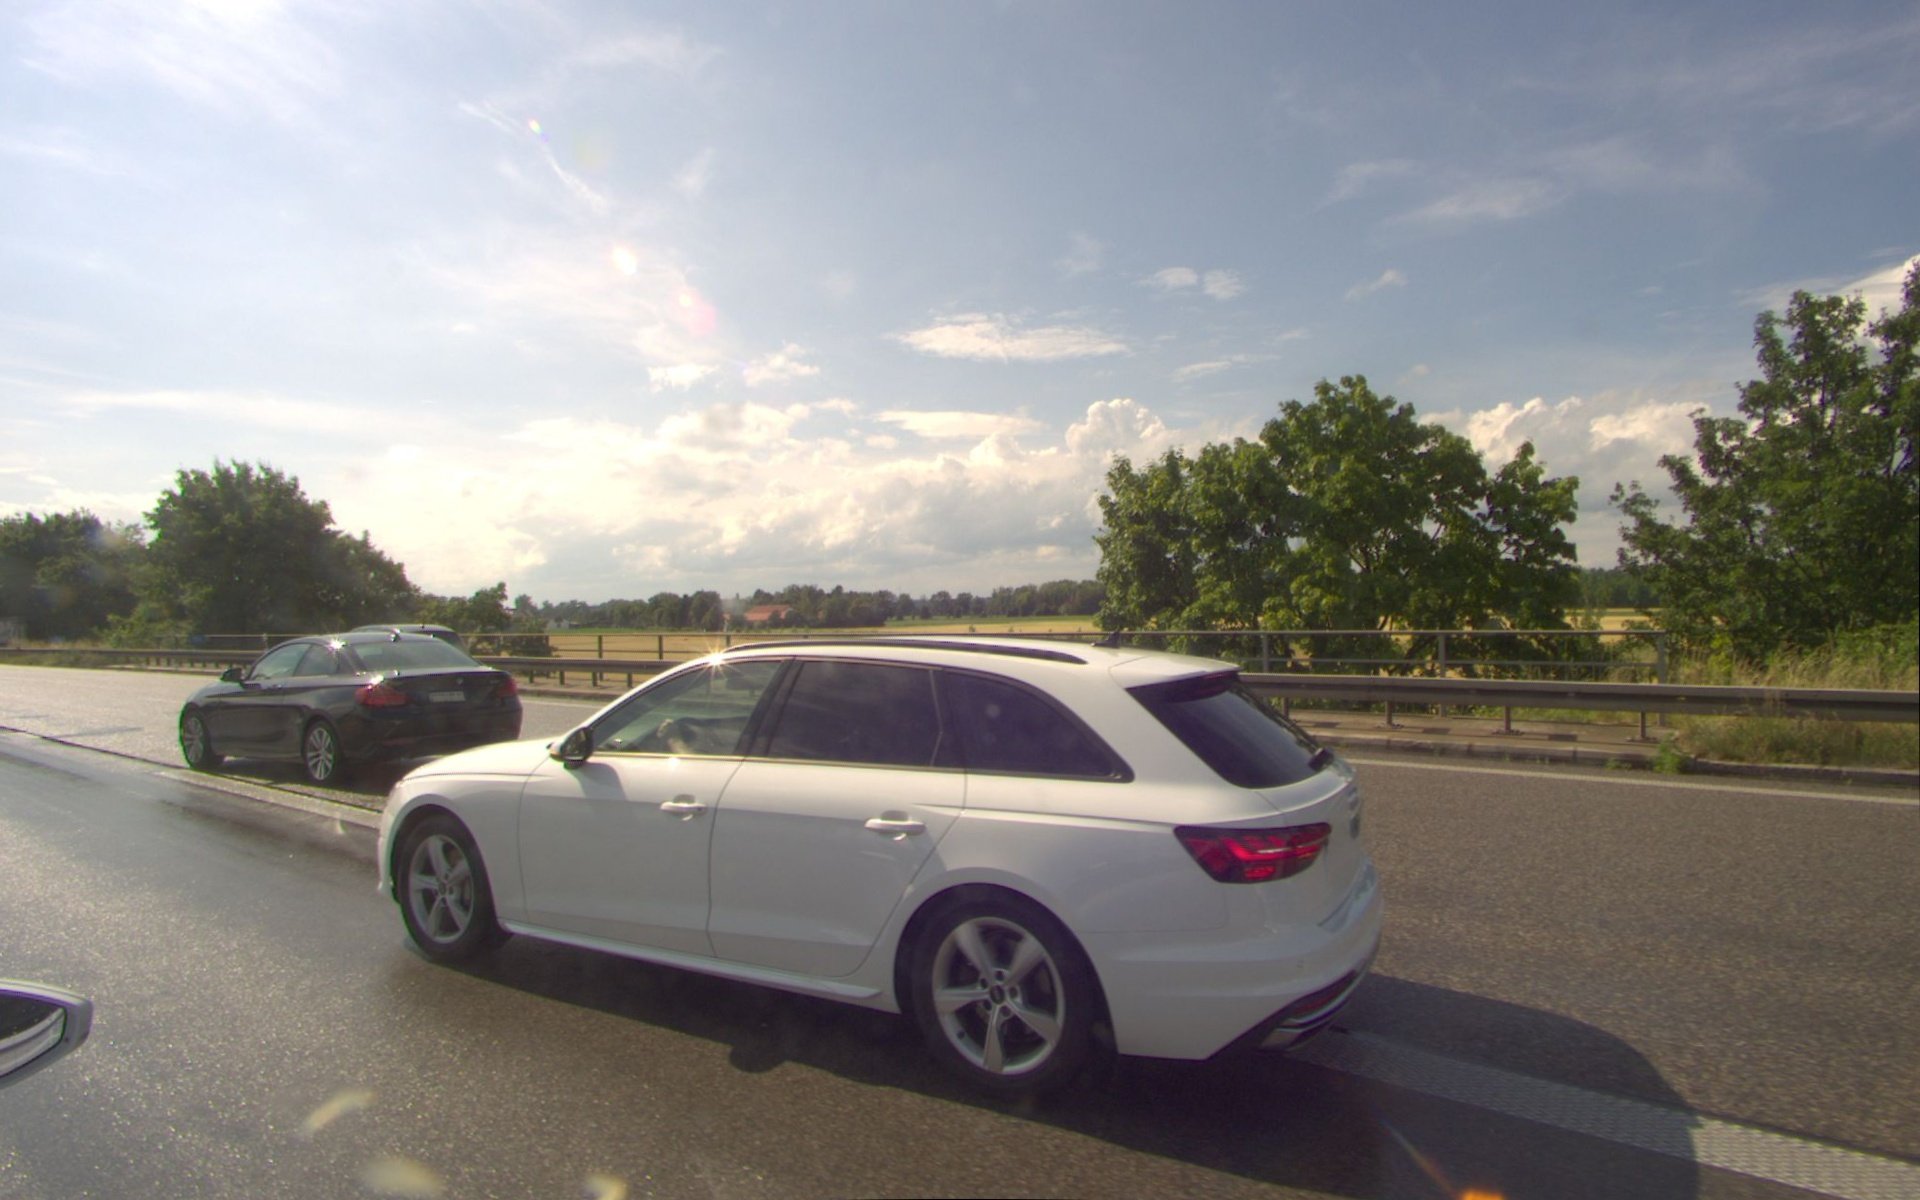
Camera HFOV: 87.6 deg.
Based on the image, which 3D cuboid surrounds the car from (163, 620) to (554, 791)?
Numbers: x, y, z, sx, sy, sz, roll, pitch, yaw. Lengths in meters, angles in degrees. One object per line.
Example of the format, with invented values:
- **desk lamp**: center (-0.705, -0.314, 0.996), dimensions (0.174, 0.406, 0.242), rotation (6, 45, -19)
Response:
- **car**: center (-6.517, 1.000, 10.752), dimensions (4.193, 1.483, 1.845), rotation (-1, -1, 31)

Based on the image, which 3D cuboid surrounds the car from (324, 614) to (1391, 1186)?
- **car**: center (-0.589, 0.822, 4.425), dimensions (4.442, 1.444, 1.825), rotation (-1, 0, 29)

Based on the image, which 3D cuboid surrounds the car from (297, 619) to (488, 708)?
- **car**: center (-11.249, 1.201, 19.785), dimensions (3.948, 1.589, 1.843), rotation (-2, -1, 36)
